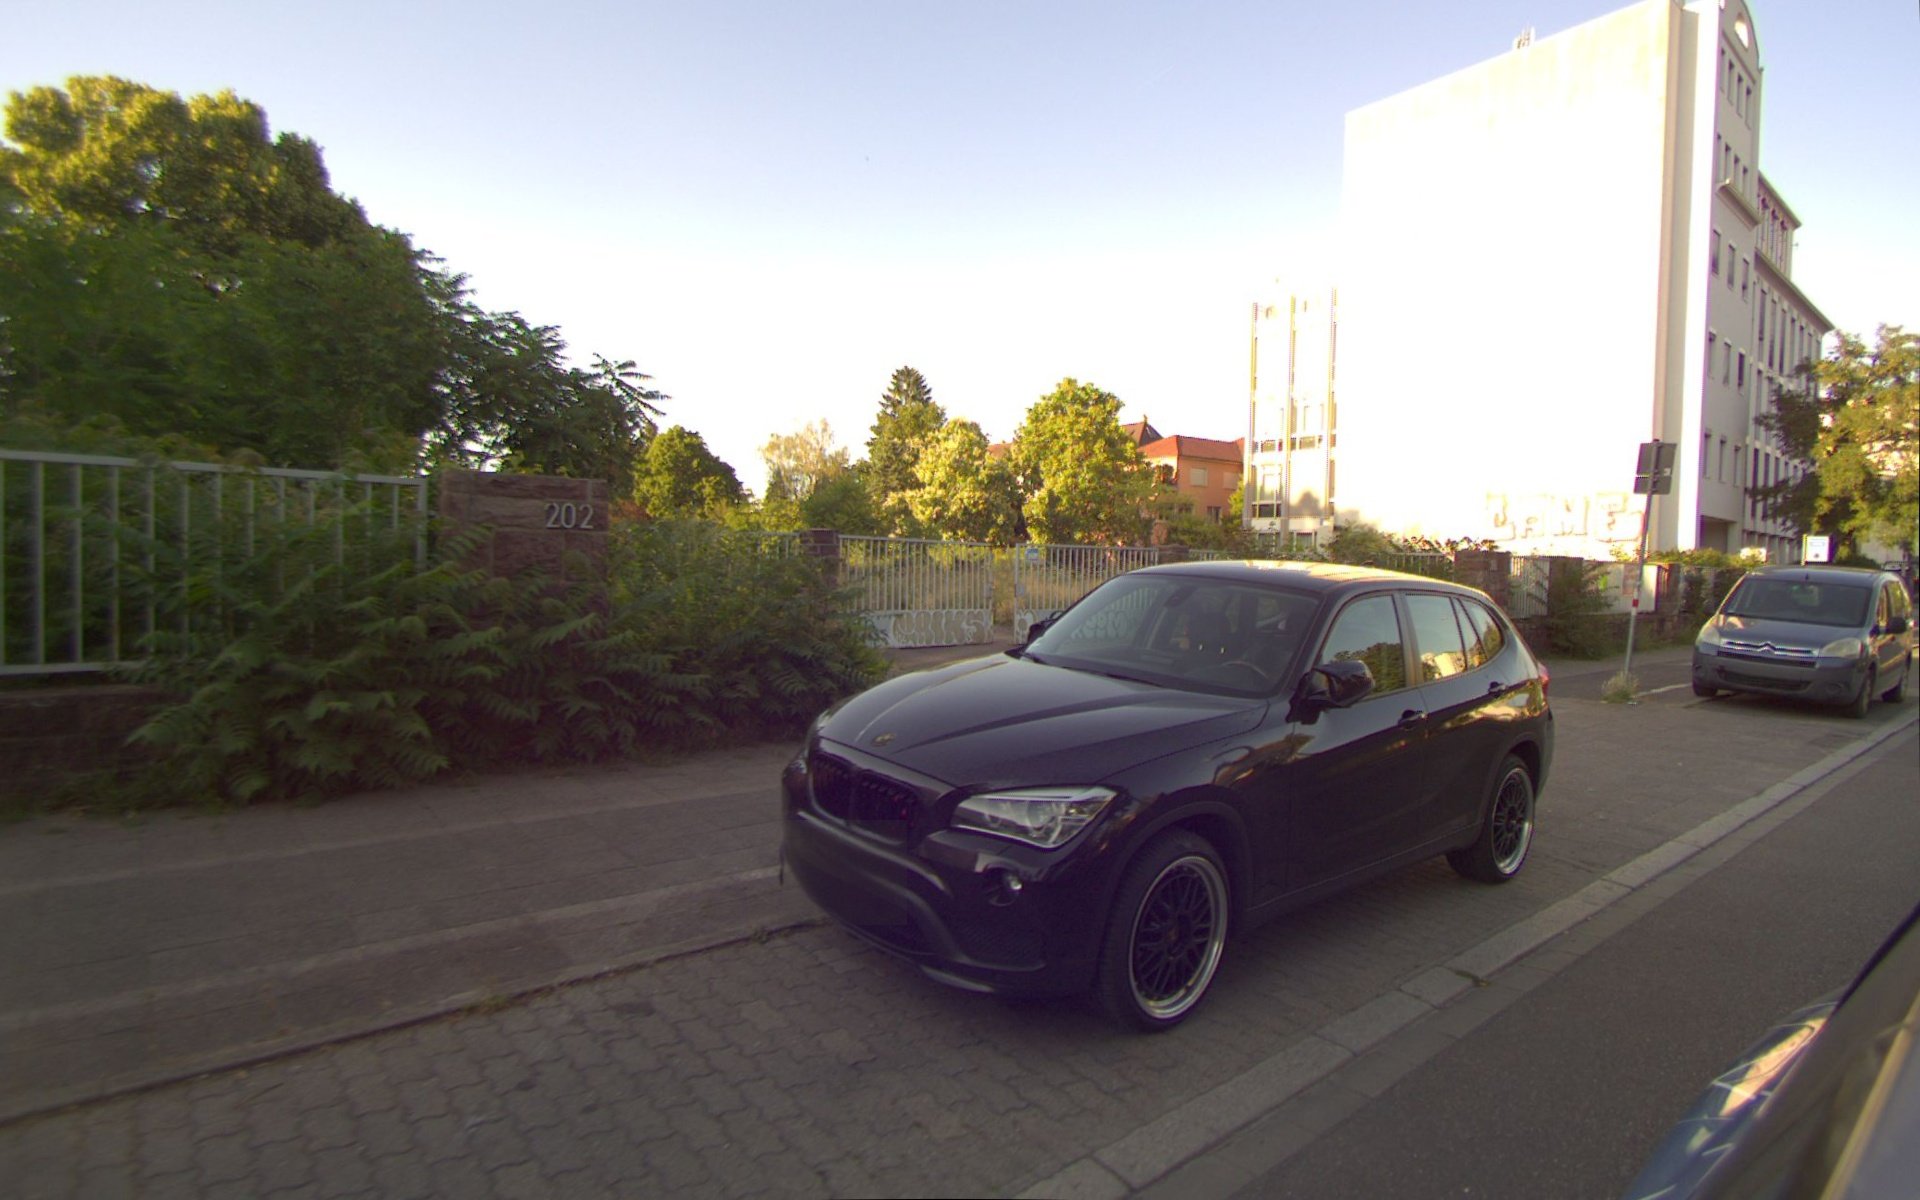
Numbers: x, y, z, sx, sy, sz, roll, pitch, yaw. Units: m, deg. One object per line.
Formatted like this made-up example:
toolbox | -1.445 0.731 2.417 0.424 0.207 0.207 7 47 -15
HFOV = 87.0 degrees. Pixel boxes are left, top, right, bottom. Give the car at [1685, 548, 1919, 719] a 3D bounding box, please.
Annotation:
car | 11.464 0.312 13.442 4.474 1.850 1.779 -1 5 -39

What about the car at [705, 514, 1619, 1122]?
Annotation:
car | 1.257 0.507 4.774 4.419 1.593 1.779 -1 5 -40
